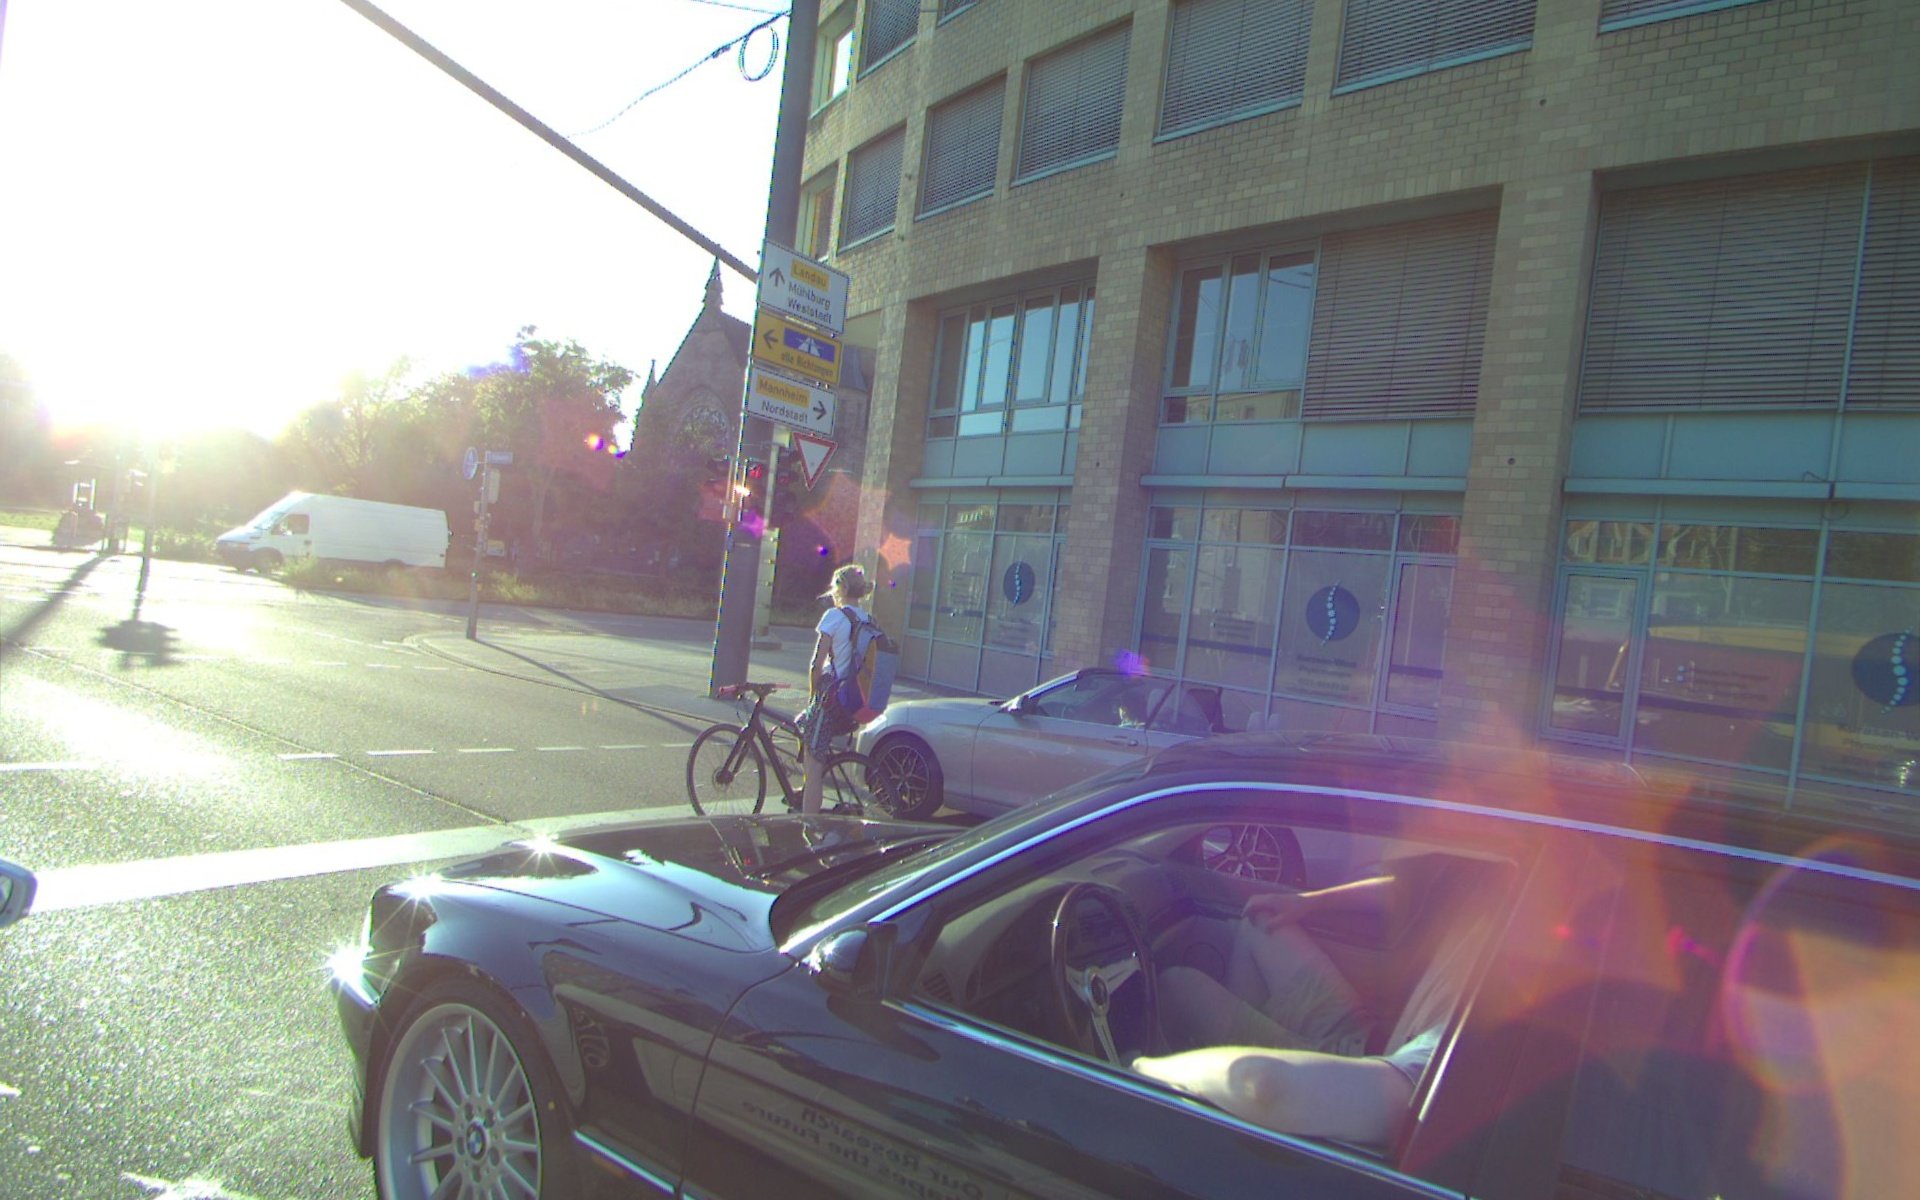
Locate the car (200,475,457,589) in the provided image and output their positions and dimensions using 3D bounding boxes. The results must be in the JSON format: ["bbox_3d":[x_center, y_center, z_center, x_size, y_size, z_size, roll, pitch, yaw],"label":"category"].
[{"bbox_3d":[-21.303,-2.193,34.412,2.059,2.862,7.017,7,0,33],"label":"car"}]

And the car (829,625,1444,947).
[{"bbox_3d":[1.235,1.189,7.682,4.158,1.401,1.746,7,-1,32],"label":"car"}]

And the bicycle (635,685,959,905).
[{"bbox_3d":[-0.998,1.077,5.975,1.838,0.884,0.634,7,0,30],"label":"bicycle"}]

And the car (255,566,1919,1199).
[{"bbox_3d":[0.894,0.940,1.999,4.661,1.402,1.997,7,-1,32],"label":"car"}]

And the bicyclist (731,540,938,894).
[{"bbox_3d":[-0.719,0.637,5.820,0.764,1.843,0.634,7,1,30],"label":"bicyclist"}]
